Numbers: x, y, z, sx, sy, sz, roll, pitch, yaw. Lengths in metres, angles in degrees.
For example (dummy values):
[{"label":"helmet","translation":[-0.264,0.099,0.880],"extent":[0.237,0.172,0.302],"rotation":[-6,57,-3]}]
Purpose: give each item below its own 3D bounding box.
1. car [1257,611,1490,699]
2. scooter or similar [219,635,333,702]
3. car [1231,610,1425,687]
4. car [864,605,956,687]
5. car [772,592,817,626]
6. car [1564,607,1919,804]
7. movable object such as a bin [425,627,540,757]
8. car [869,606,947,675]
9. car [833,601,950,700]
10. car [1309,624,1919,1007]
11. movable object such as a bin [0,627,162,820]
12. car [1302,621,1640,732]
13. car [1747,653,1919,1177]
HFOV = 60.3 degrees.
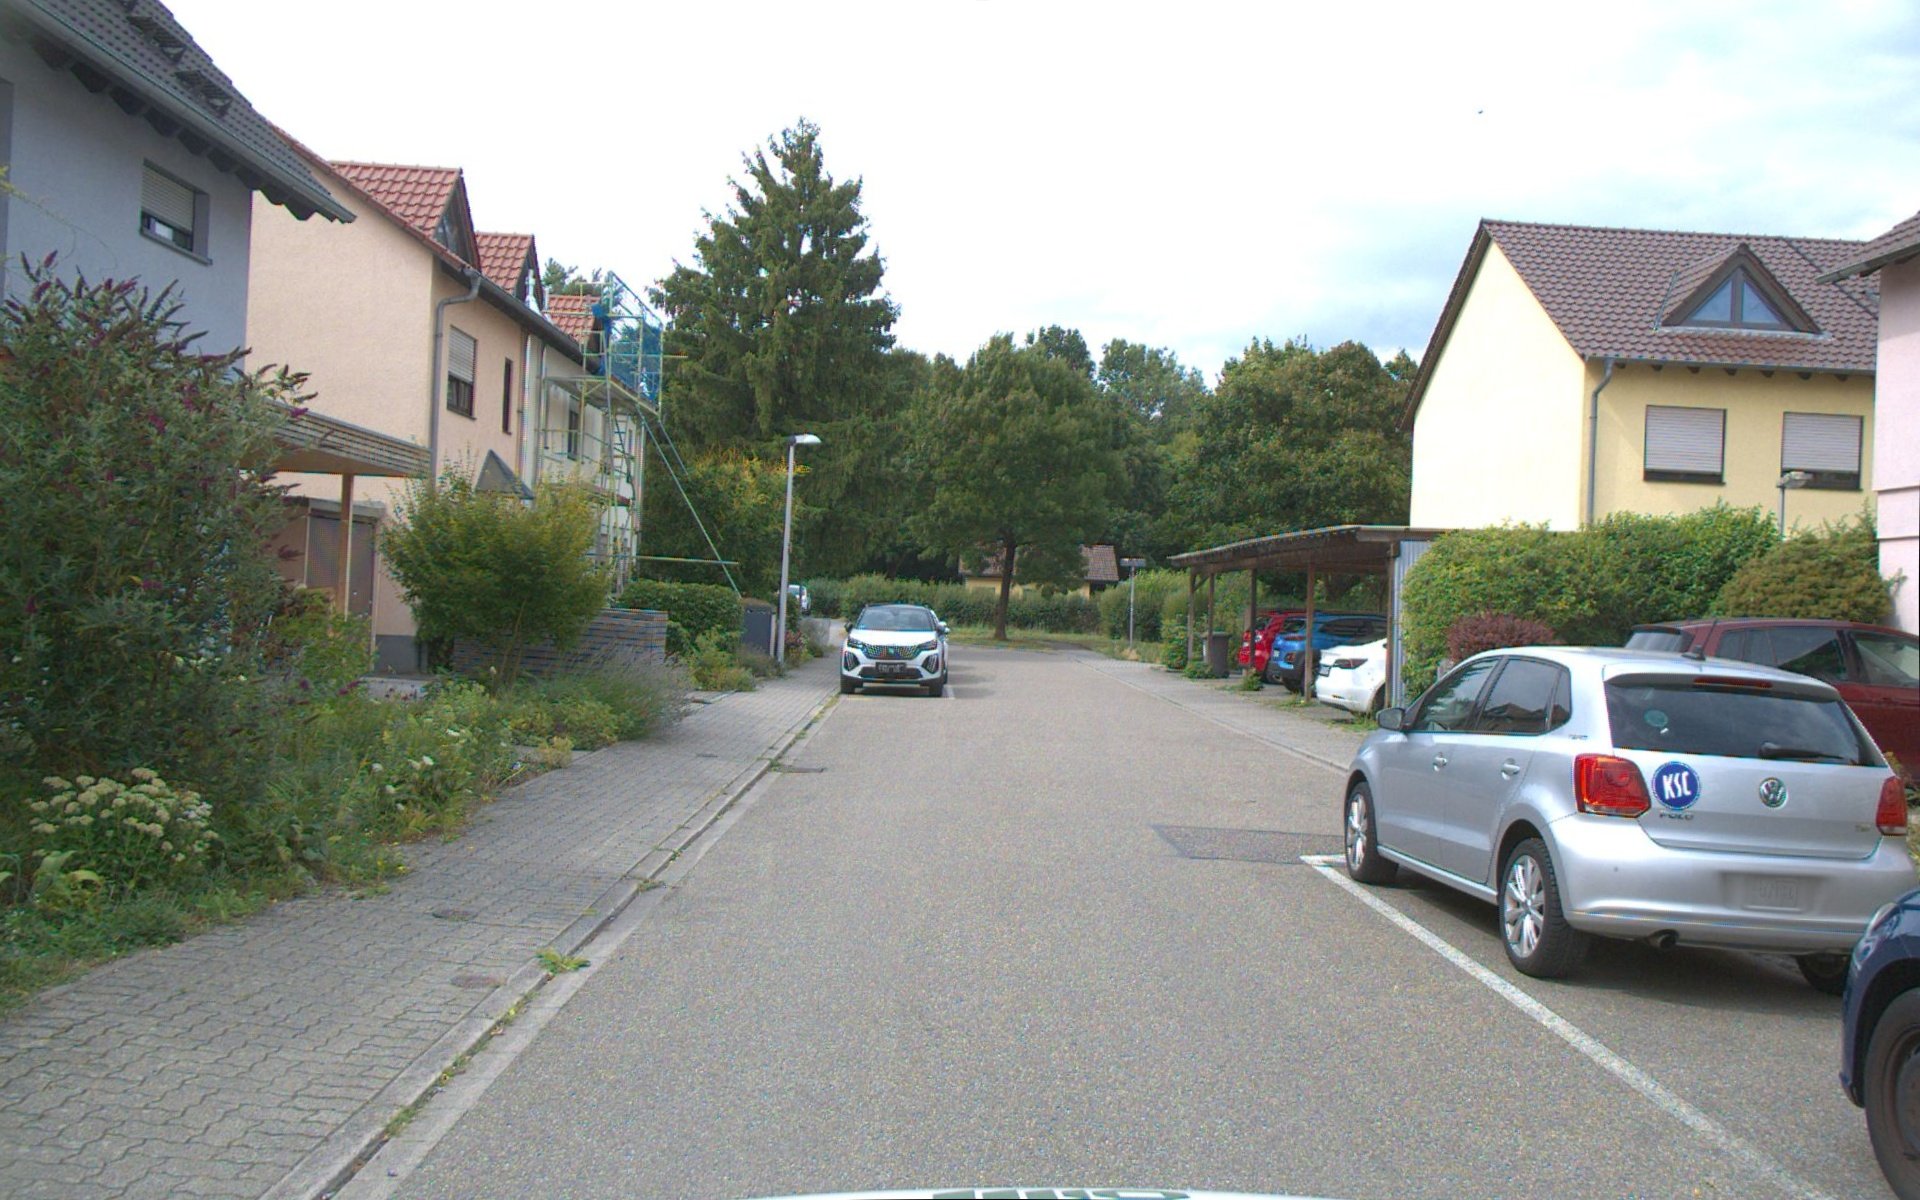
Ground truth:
[{"label":"car","translation":[7.970,1.049,32.130],"extent":[3.966,1.549,1.949],"rotation":[1,0,-4]},{"label":"scooter or similar","translation":[-8.773,0.879,21.229],"extent":[1.276,0.811,0.363],"rotation":[1,0,-1]},{"label":"car","translation":[8.192,1.065,37.055],"extent":[3.879,1.567,1.838],"rotation":[1,0,-4]},{"label":"car","translation":[-1.033,0.915,35.001],"extent":[1.773,1.589,4.846],"rotation":[1,0,-1]},{"label":"car","translation":[-8.582,0.453,86.135],"extent":[1.898,1.689,4.340],"rotation":[2,0,-1]},{"label":"car","translation":[7.814,0.899,14.682],"extent":[4.183,1.587,1.934],"rotation":[1,-1,-1]},{"label":"movable object such as a bin","translation":[-5.100,0.967,17.742],"extent":[0.930,1.335,1.000],"rotation":[1,-1,-2]},{"label":"car","translation":[-1.222,0.947,40.457],"extent":[1.755,1.558,4.139],"rotation":[1,0,0]},{"label":"car","translation":[-1.143,0.842,29.600],"extent":[1.894,1.583,4.633],"rotation":[1,0,0]},{"label":"car","translation":[3.336,0.909,8.782],"extent":[1.828,1.441,4.250],"rotation":[2,0,-3]},{"label":"movable object such as a bin","translation":[-5.279,0.718,9.871],"extent":[0.685,1.091,0.711],"rotation":[1,0,-4]},{"label":"car","translation":[7.499,1.103,24.579],"extent":[4.361,1.458,2.026],"rotation":[1,0,-3]},{"label":"car","translation":[3.467,0.877,3.287],"extent":[1.737,1.379,4.265],"rotation":[1,0,0]}]
